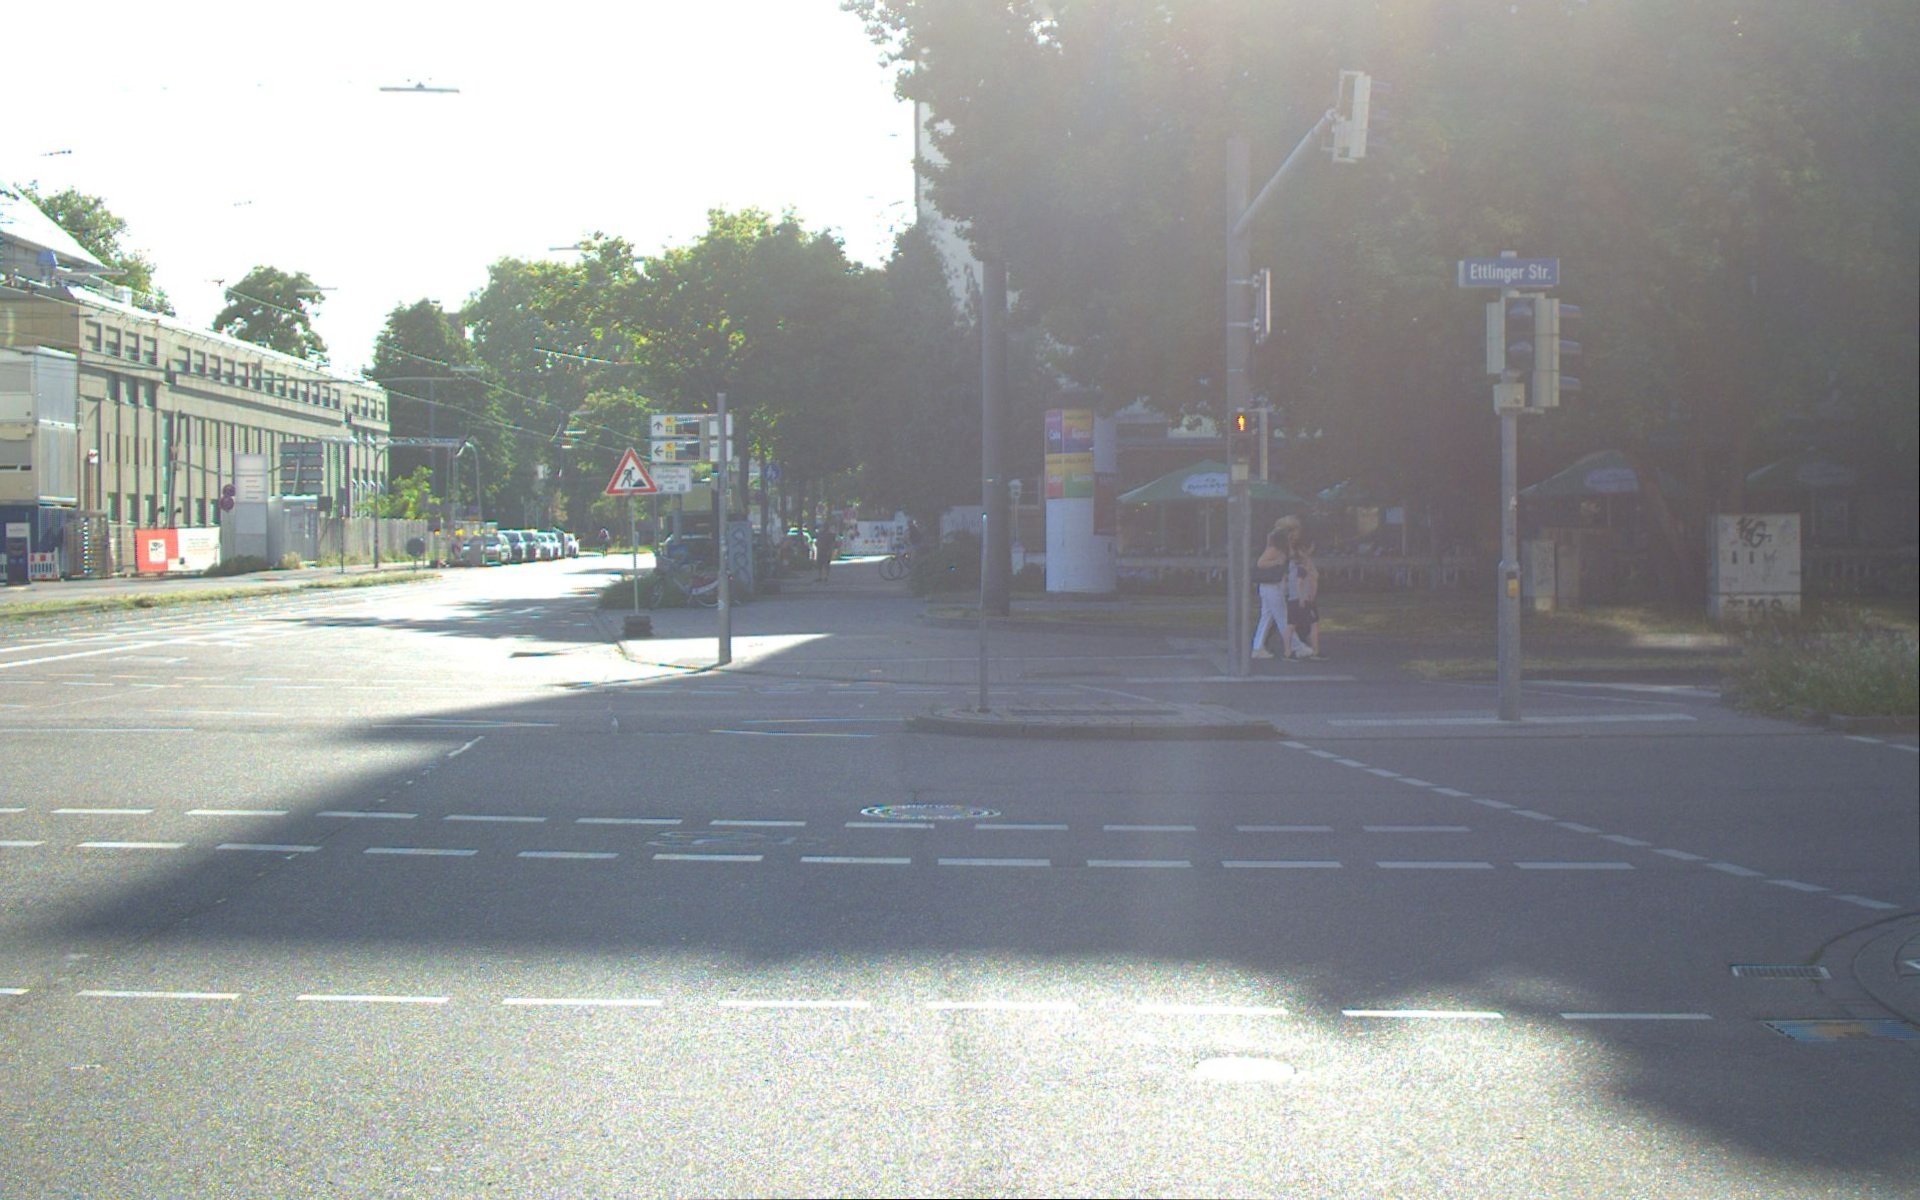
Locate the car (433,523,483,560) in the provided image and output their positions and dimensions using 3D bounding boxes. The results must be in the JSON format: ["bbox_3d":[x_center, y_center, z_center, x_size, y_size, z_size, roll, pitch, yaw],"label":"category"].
[{"bbox_3d":[-22.745,-2.648,155.845,1.731,1.647,4.000,0,1,-1],"label":"car"}]

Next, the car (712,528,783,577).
[{"bbox_3d":[-5.692,-1.290,92.286,1.819,1.274,4.001,0,1,-3],"label":"car"}]

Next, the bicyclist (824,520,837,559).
[{"bbox_3d":[-3.714,-1.722,98.379,0.318,1.124,0.291,0,1,7],"label":"bicyclist"}]

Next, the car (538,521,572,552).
[{"bbox_3d":[-22.843,-3.577,194.135,1.483,1.744,4.000,-1,1,-1],"label":"car"}]

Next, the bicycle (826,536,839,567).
[{"bbox_3d":[-3.667,-1.398,98.583,0.324,0.865,1.483,0,1,-1],"label":"bicycle"}]

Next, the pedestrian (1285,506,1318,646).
[{"bbox_3d":[4.415,-0.312,44.450,0.361,1.798,0.506,0,1,11],"label":"pedestrian"}]

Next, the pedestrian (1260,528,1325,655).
[{"bbox_3d":[4.311,-0.108,44.602,0.796,1.634,0.533,0,1,9],"label":"pedestrian"}]

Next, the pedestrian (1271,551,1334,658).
[{"bbox_3d":[4.310,0.057,43.235,0.752,1.328,0.742,0,1,7],"label":"pedestrian"}]

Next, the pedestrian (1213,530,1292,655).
[{"bbox_3d":[3.748,-0.095,44.035,0.984,1.582,0.660,0,0,5],"label":"pedestrian"}]

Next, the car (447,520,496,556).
[{"bbox_3d":[-22.715,-2.885,159.948,1.731,1.647,4.000,0,1,-1],"label":"car"}]

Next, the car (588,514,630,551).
[{"bbox_3d":[-19.737,-3.797,193.536,1.993,2.007,4.000,1,1,-1],"label":"car"}]

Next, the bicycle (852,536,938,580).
[{"bbox_3d":[-1.936,-1.257,102.627,2.569,1.284,0.728,1,0,0],"label":"bicycle"}]

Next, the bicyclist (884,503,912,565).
[{"bbox_3d":[-1.857,-1.964,102.782,0.804,1.838,0.731,0,1,-1],"label":"bicyclist"}]

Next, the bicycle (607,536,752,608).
[{"bbox_3d":[-5.473,-0.552,67.150,2.748,1.363,0.630,1,0,11],"label":"bicycle"}]
